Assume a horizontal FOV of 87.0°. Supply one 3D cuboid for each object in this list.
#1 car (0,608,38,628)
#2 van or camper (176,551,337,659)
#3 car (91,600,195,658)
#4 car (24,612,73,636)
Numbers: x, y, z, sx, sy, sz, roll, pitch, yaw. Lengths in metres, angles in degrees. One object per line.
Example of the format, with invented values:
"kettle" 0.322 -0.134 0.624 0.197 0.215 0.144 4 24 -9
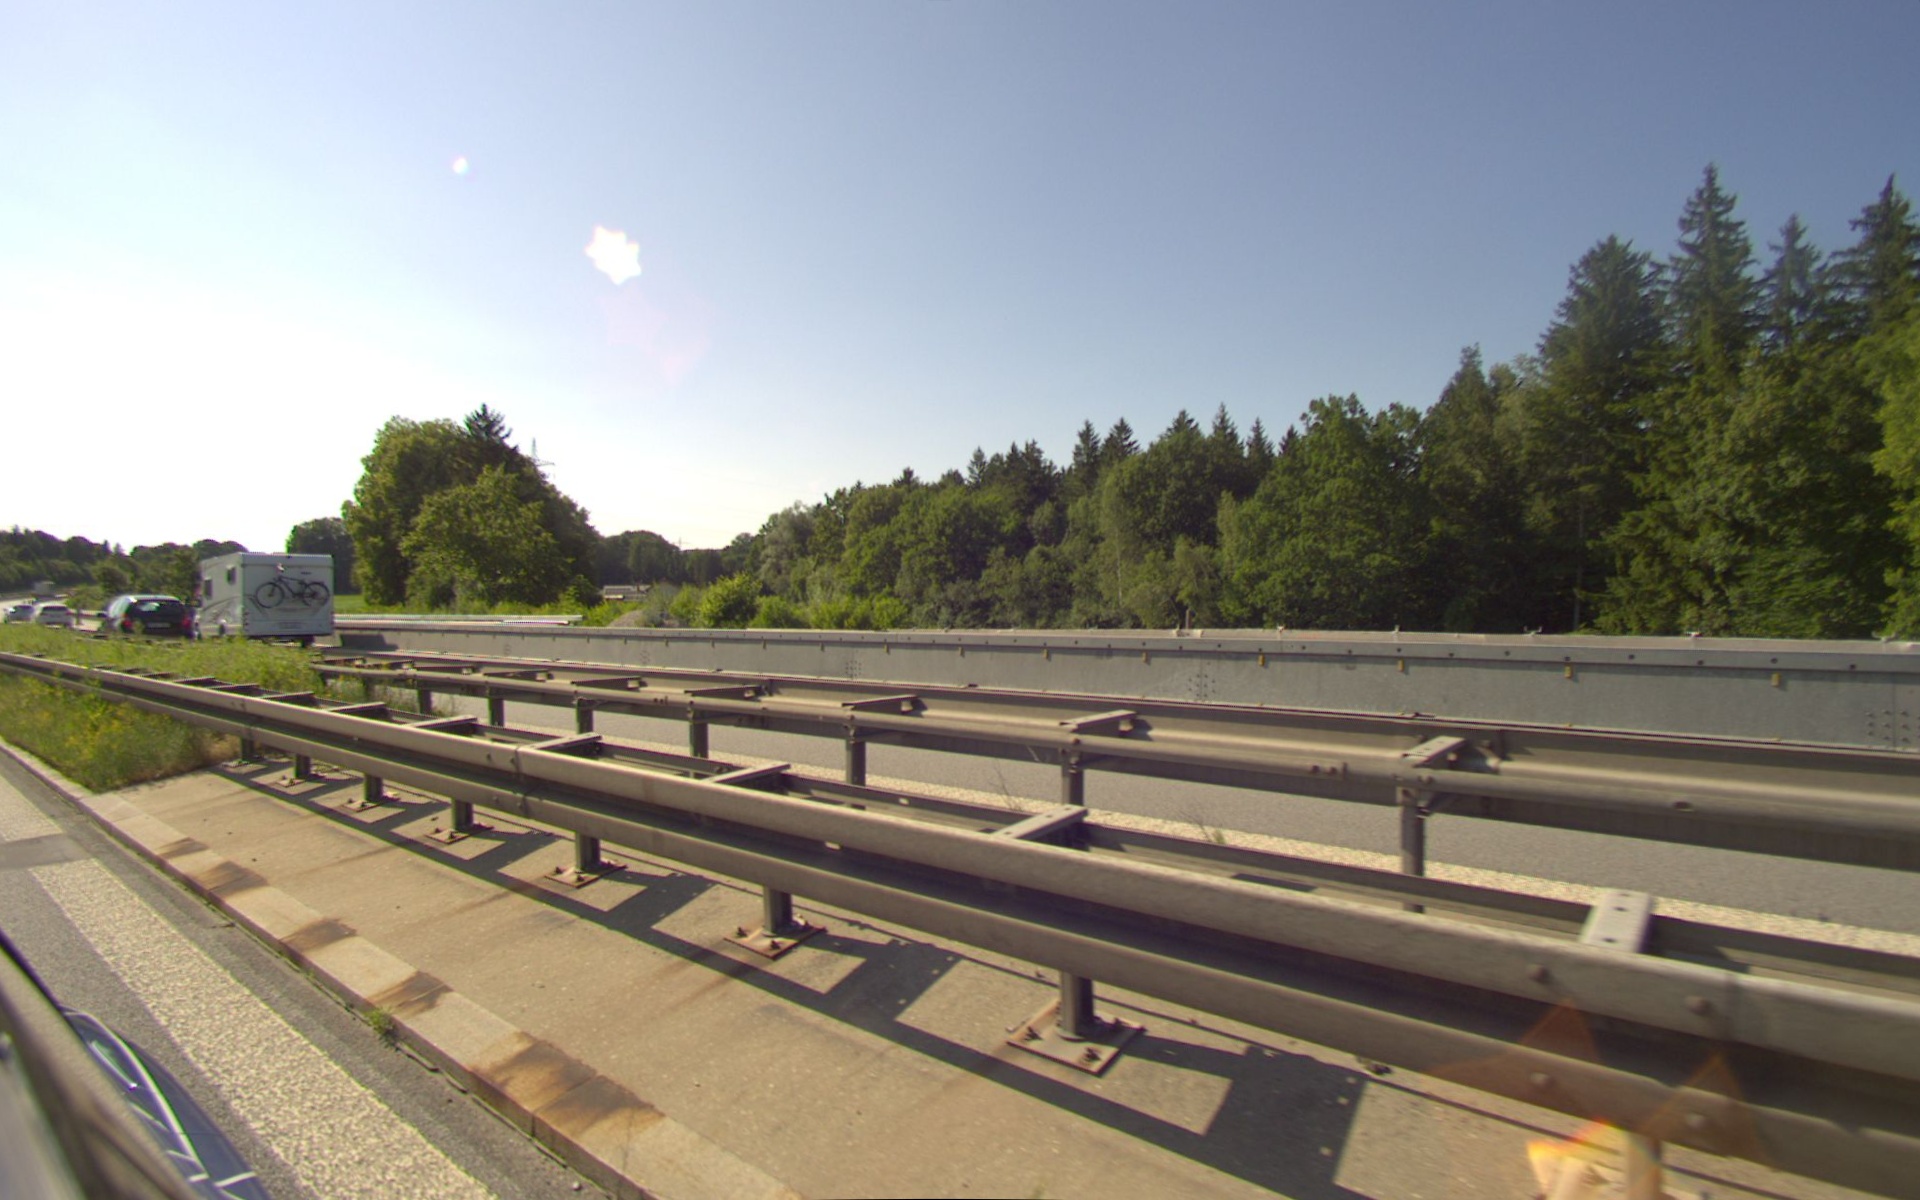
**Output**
"car" -70.740 1.337 75.869 4.982 1.443 1.863 -1 0 42
"van or camper" -21.799 0.165 31.182 7.520 2.972 2.380 -1 0 42
"car" -23.602 0.810 29.185 3.999 1.541 1.723 -1 -2 42
"car" -56.543 1.470 62.744 4.954 1.443 1.683 -1 -2 42
